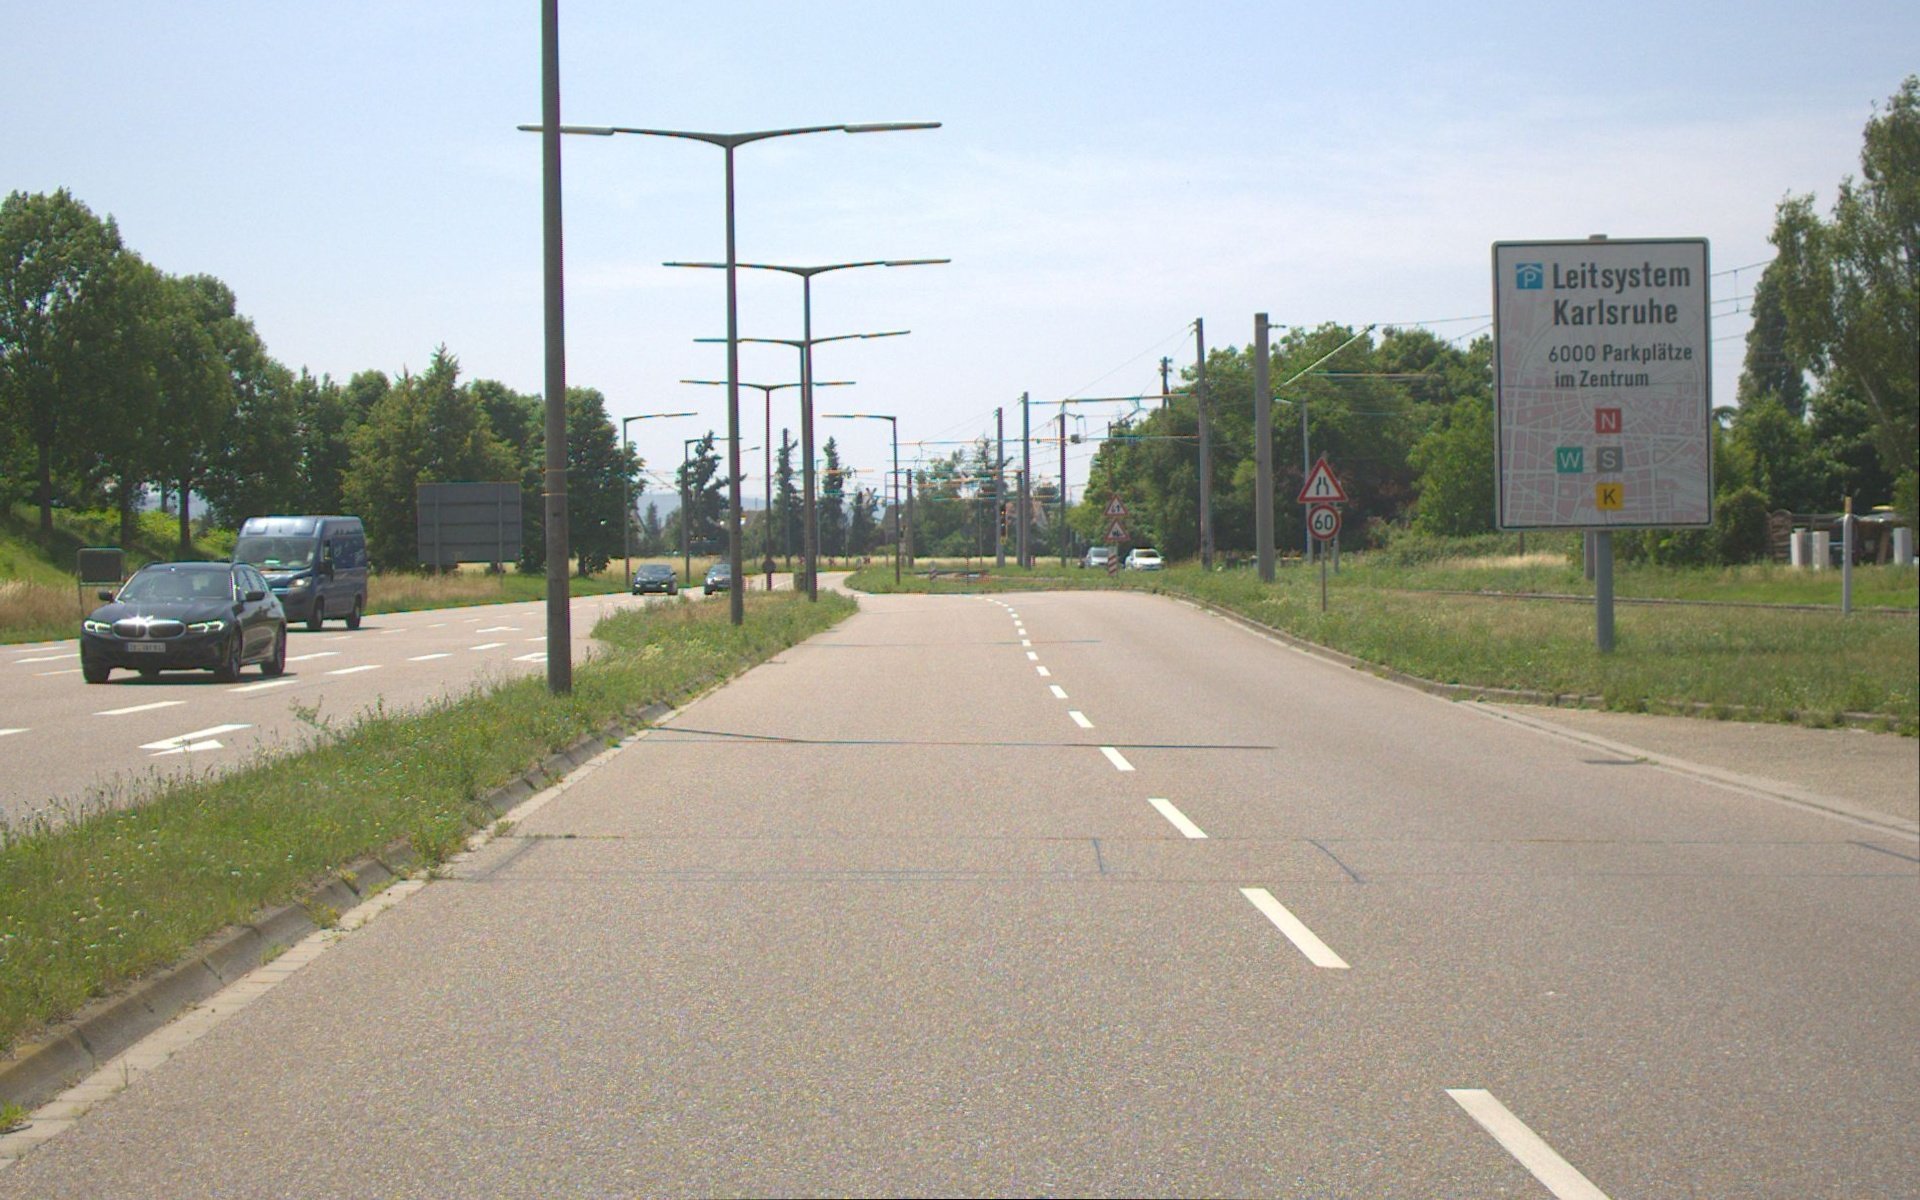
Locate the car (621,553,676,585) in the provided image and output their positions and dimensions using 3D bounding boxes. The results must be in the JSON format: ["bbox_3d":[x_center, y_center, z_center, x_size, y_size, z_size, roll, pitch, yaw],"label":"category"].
[{"bbox_3d":[-14.084,-1.415,155.805,1.993,1.355,4.666,-2,1,0],"label":"car"}]

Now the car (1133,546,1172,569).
[{"bbox_3d":[10.273,-2.264,183.538,1.562,1.175,3.080,-2,1,-7],"label":"car"}]

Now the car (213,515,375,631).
[{"bbox_3d":[-14.391,-0.620,74.665,2.174,2.403,5.671,-1,1,2],"label":"car"}]

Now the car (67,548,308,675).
[{"bbox_3d":[-9.492,0.102,42.593,1.731,1.453,4.564,-1,1,3],"label":"car"}]

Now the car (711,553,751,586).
[{"bbox_3d":[-10.587,-1.414,159.095,1.692,1.486,4.000,-1,1,-2],"label":"car"}]
